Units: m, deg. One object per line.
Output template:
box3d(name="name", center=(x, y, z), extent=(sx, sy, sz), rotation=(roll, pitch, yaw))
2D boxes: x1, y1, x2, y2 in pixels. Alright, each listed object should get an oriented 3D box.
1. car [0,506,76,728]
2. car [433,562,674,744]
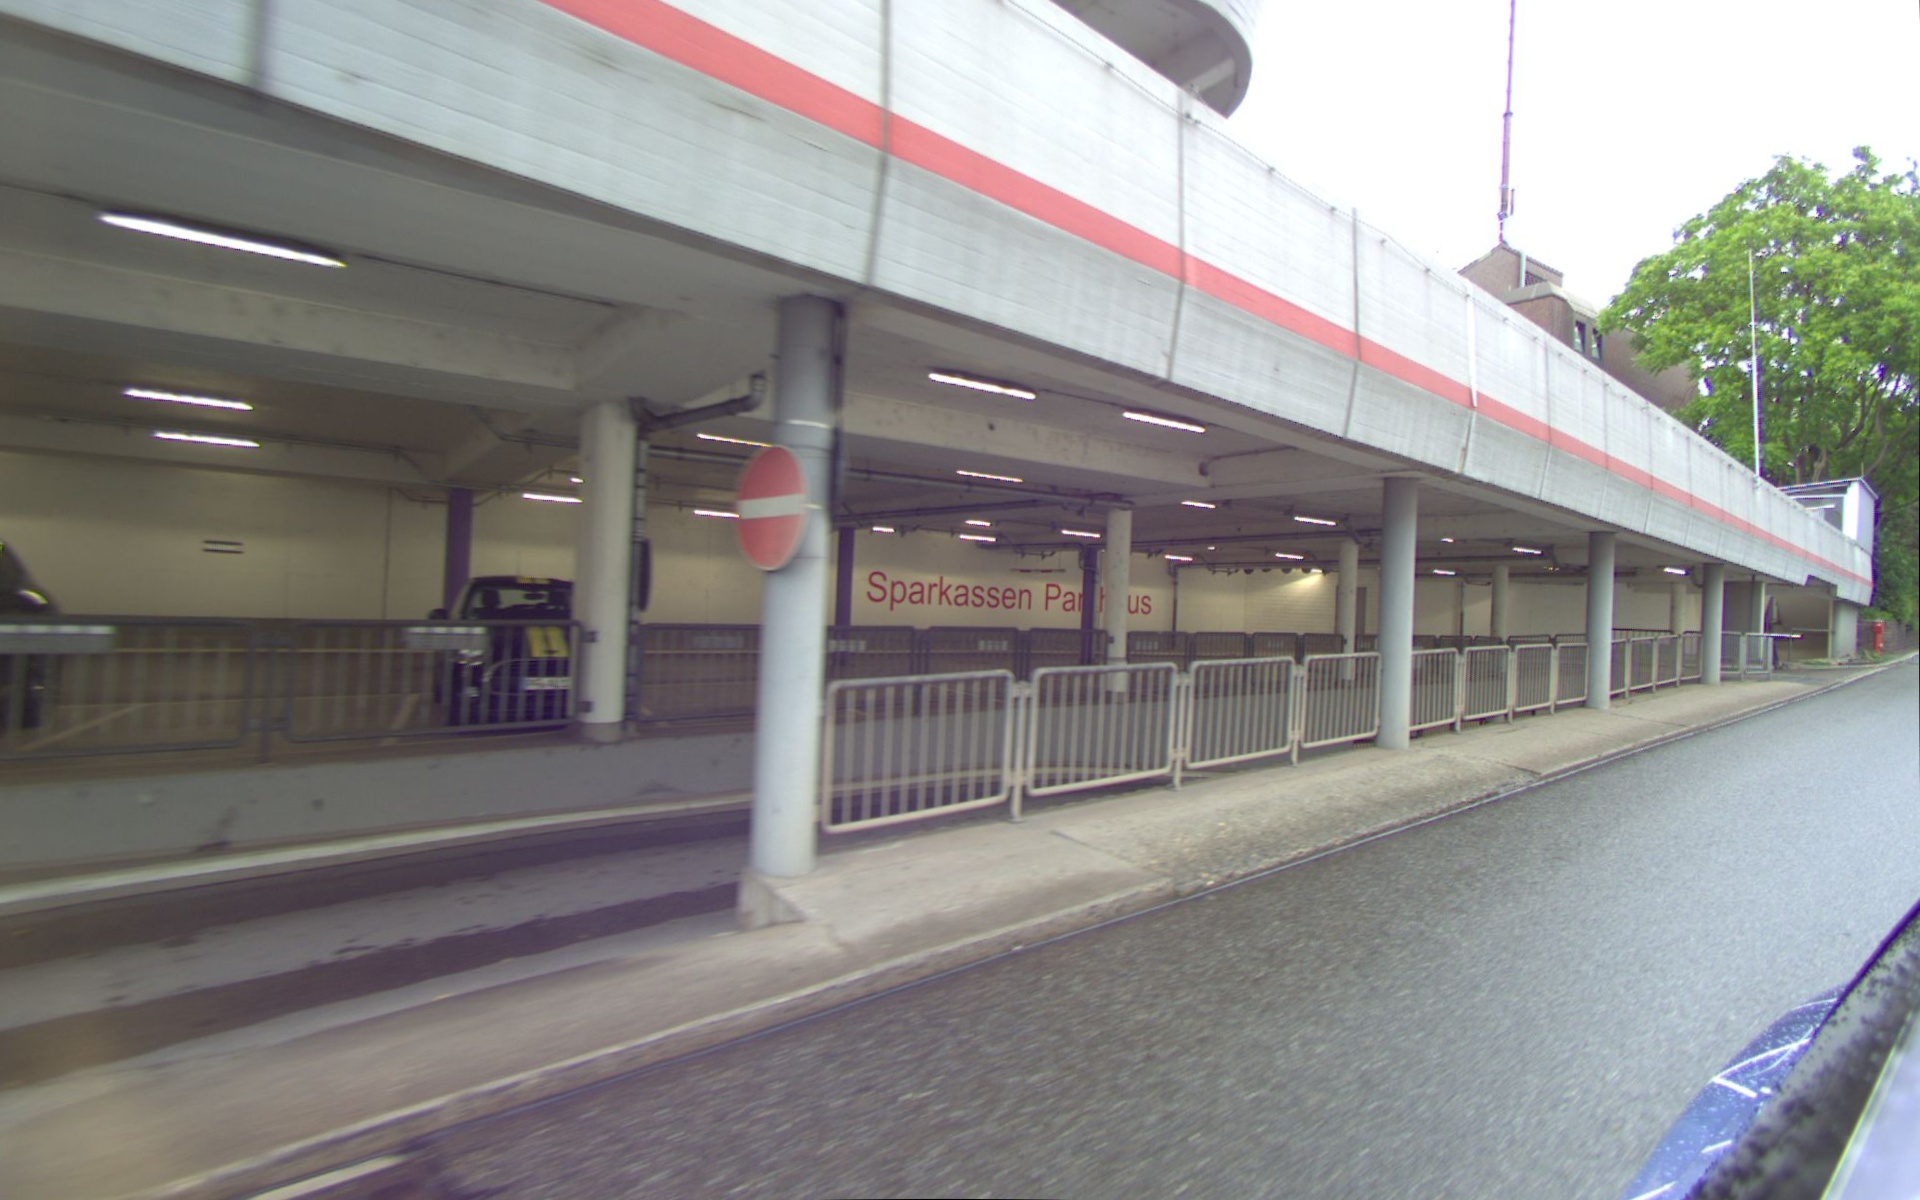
box3d(name="car", center=(-7.785, 0.136, 6.812), extent=(1.785, 1.661, 4.596), rotation=(-1, 0, -28))
box3d(name="car", center=(-4.369, 0.421, 10.522), extent=(1.771, 1.524, 3.740), rotation=(3, 0, -30))
